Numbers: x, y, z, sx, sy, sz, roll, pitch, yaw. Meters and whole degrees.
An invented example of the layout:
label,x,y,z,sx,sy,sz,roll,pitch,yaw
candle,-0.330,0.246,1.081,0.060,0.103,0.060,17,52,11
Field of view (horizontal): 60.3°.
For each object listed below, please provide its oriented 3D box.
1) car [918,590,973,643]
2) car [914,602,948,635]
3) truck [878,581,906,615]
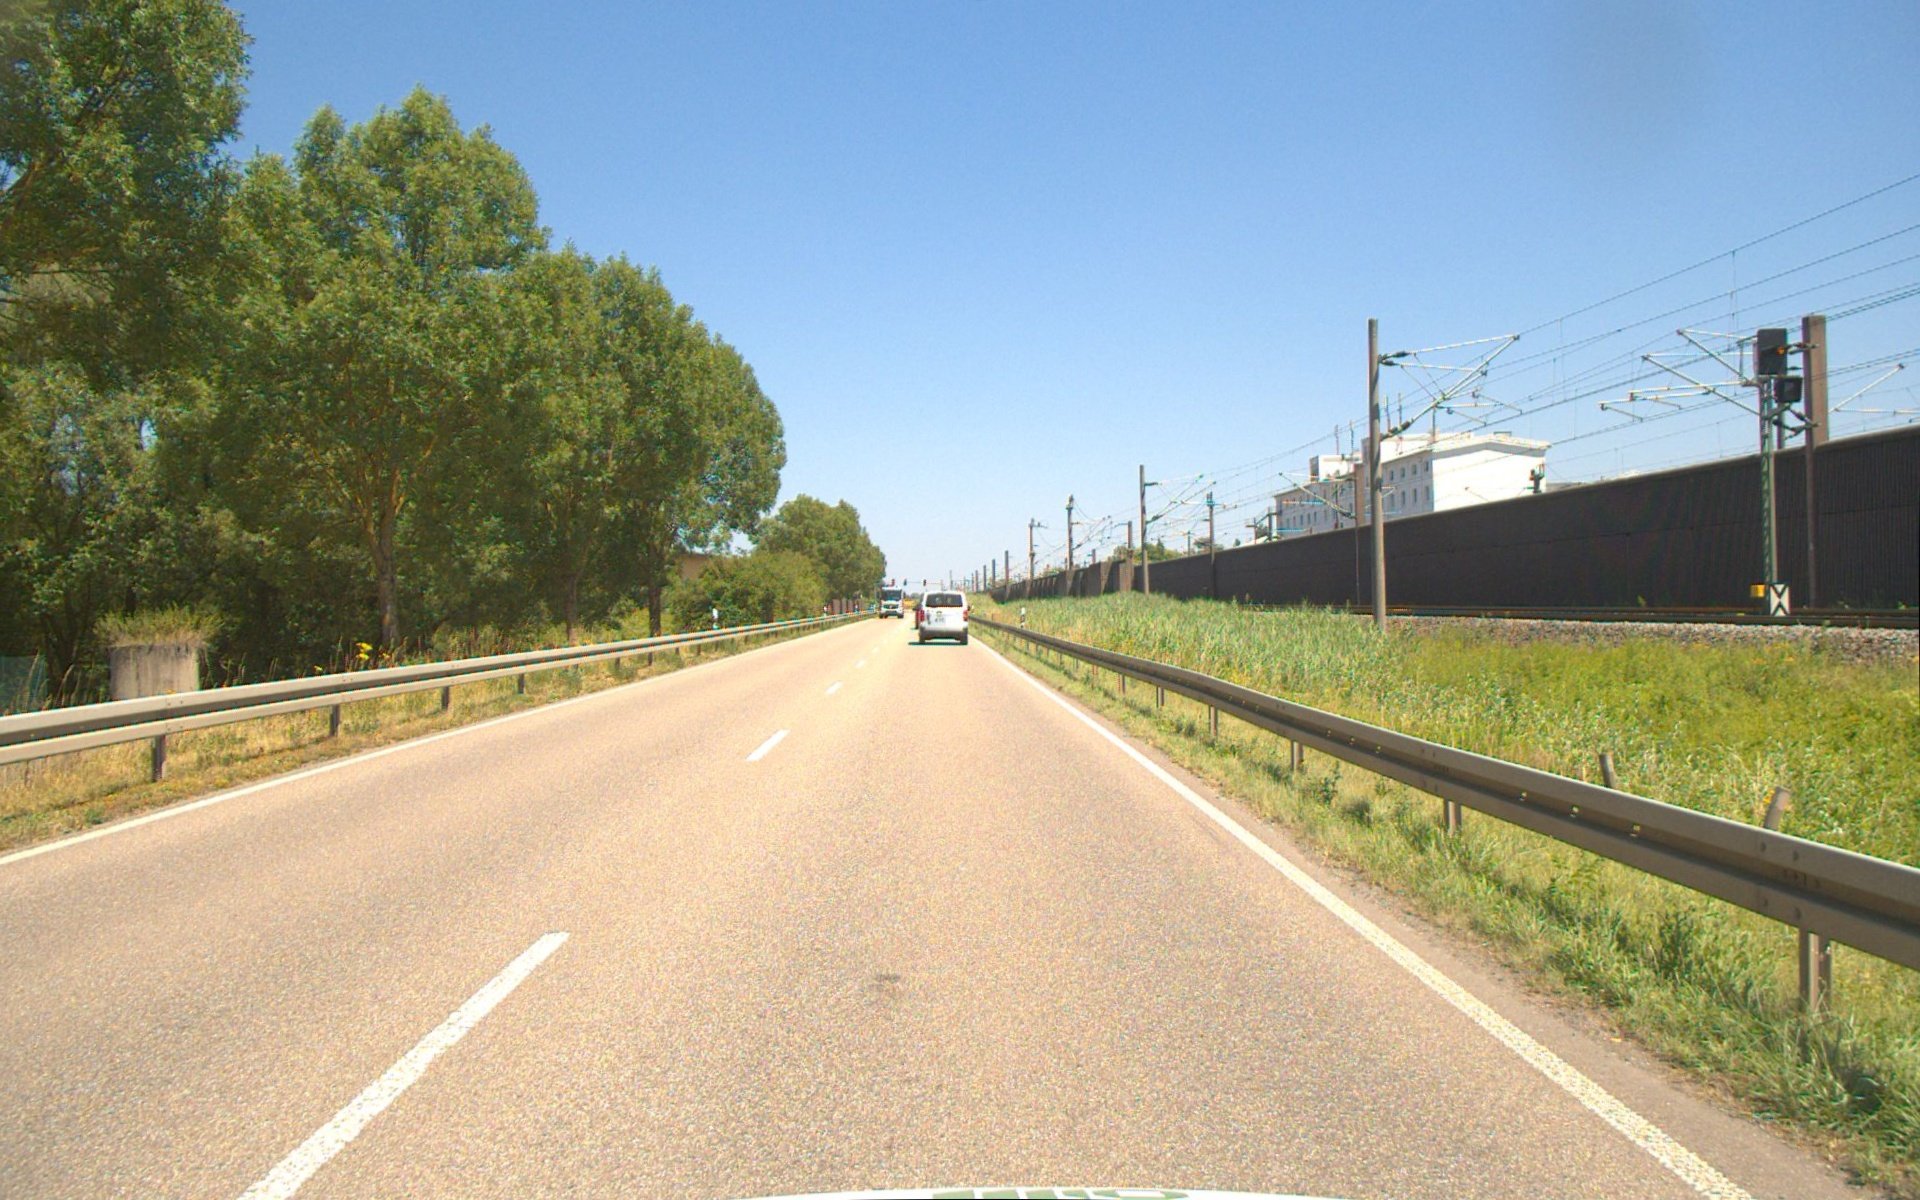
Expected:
label,x,y,z,sx,sy,sz,roll,pitch,yaw
car,-0.556,0.598,61.958,1.953,1.882,3.999,1,0,-1
car,-1.733,1.102,99.571,1.953,1.882,3.999,1,0,-1
truck,-7.073,-0.170,173.186,2.727,3.464,7.986,1,0,-2
